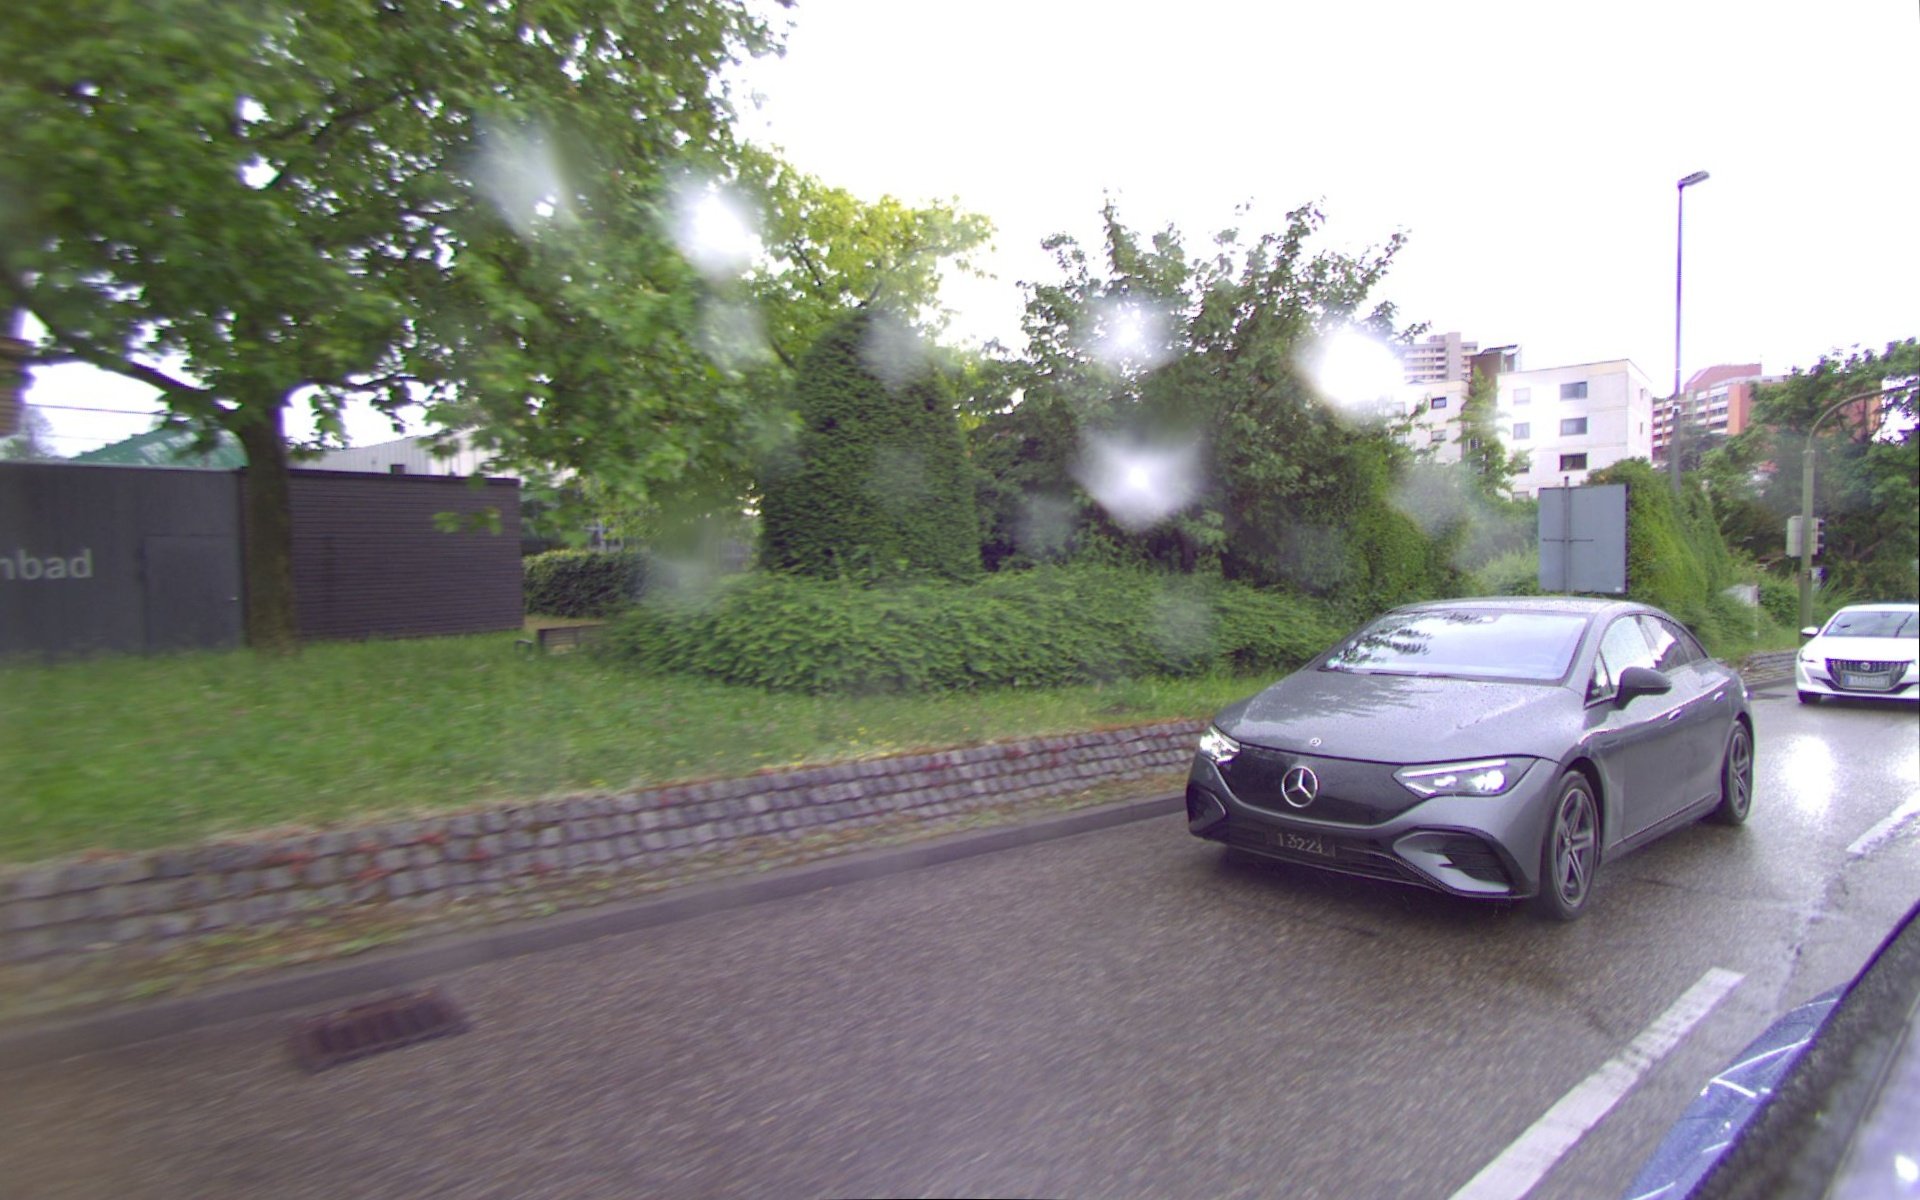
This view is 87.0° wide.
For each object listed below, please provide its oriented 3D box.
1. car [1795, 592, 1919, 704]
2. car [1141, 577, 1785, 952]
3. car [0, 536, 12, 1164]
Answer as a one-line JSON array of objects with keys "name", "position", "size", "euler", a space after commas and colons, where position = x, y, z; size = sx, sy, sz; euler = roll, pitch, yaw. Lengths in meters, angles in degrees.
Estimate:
[{"name": "car", "position": [13.975, 0.621, 14.935], "size": [3.962, 1.415, 1.718], "euler": [-2, 0, -38]}, {"name": "car", "position": [3.281, 0.623, 6.150], "size": [4.470, 1.462, 1.835], "euler": [-1, 0, -40]}, {"name": "car", "position": [-3.647, 0.626, 0.483], "size": [4.528, 1.526, 1.957], "euler": [-2, -1, -40]}]
